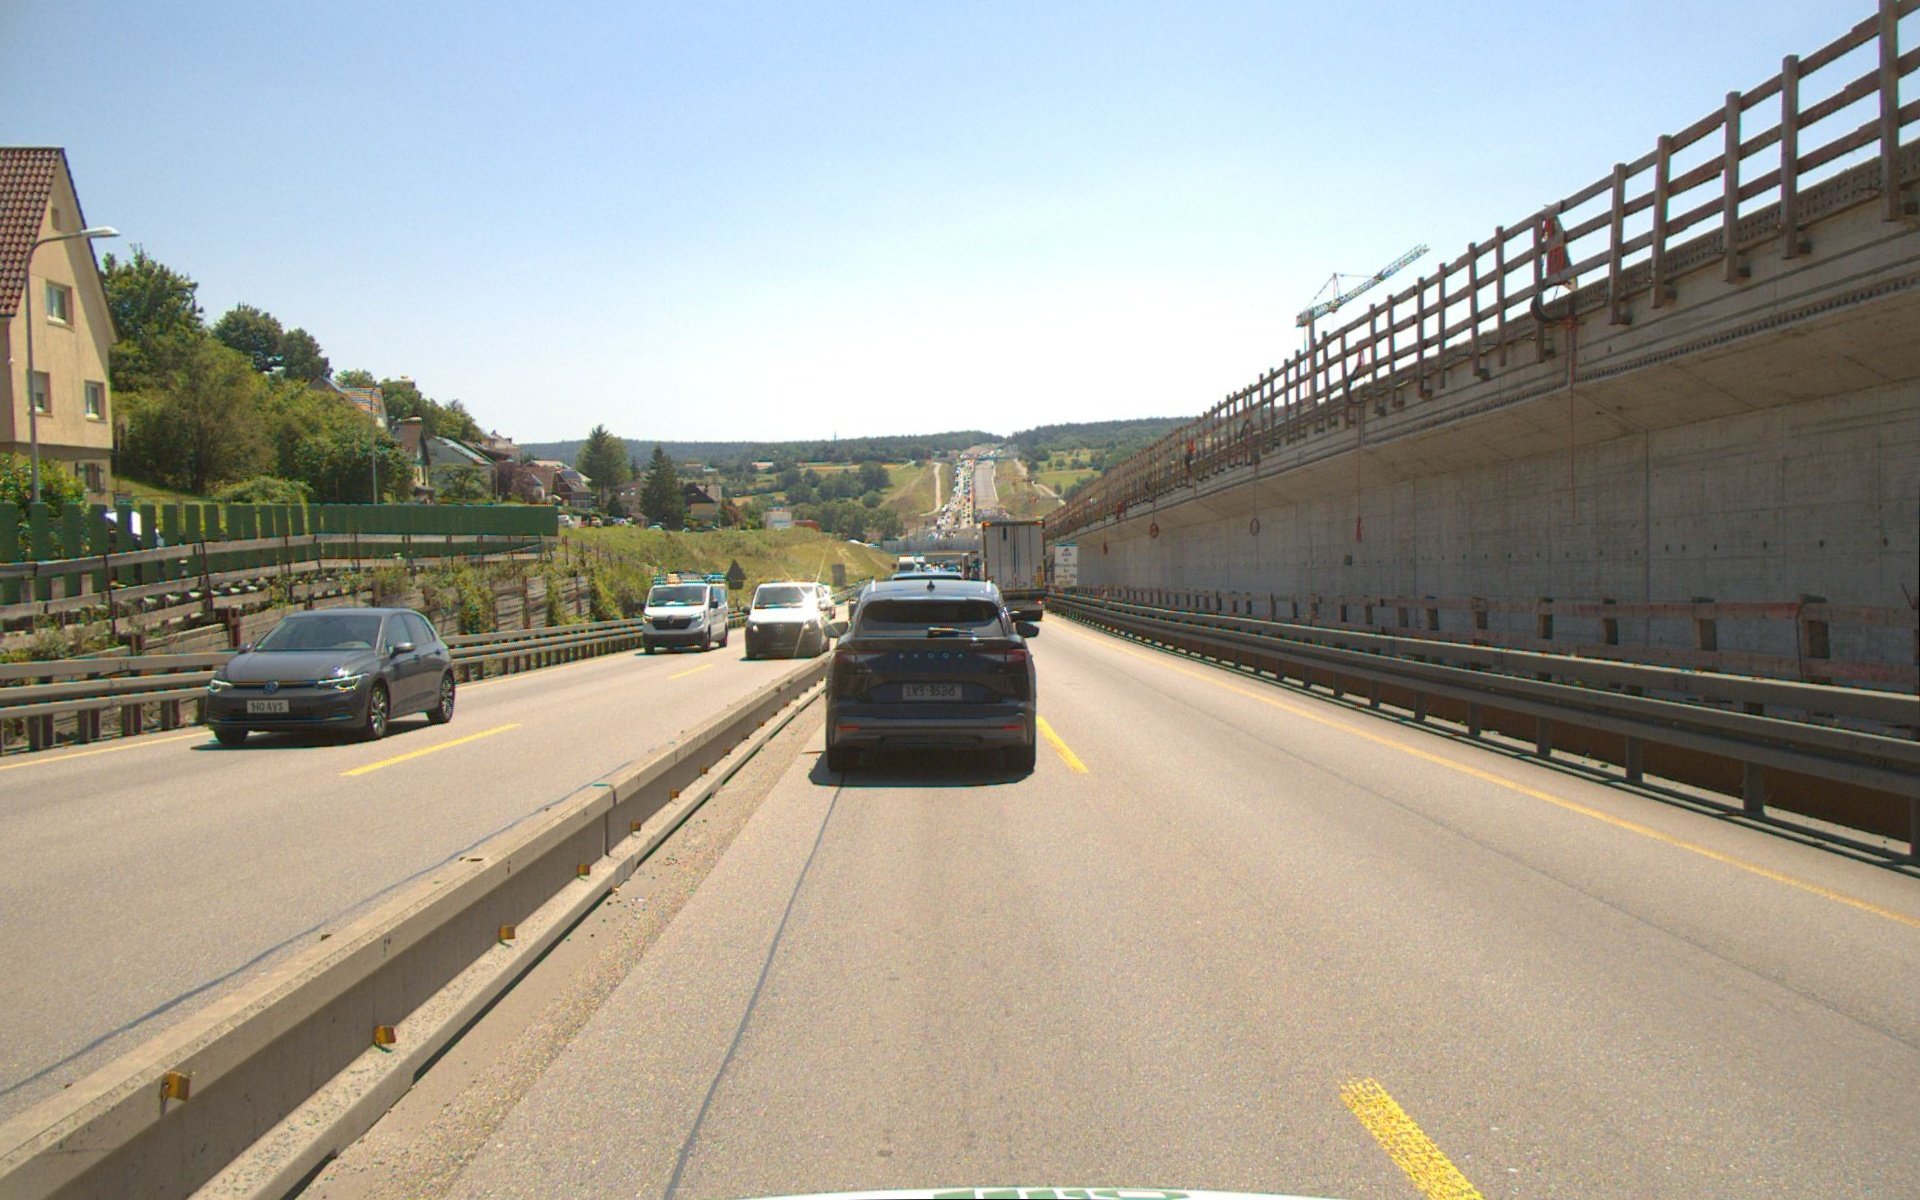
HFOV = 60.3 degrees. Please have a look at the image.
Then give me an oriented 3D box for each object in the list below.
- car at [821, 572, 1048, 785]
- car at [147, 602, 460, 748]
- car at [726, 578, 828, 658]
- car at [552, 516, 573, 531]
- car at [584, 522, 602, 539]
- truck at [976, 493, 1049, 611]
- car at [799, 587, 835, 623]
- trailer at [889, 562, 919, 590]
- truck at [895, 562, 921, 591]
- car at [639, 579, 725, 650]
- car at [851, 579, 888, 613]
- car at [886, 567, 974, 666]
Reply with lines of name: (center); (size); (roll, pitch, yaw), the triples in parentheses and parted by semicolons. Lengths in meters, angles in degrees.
car: (-0.242, 0.615, 14.972); (1.747, 1.625, 3.754); (-2, 0, -1)
car: (-7.319, 0.774, 18.970); (1.953, 1.467, 4.362); (0, 0, -2)
car: (-4.632, 0.448, 42.610); (2.113, 1.939, 5.324); (0, 0, -1)
car: (-41.675, -8.050, 173.552); (1.958, 1.343, 3.989); (2, 0, -11)
car: (-42.897, -8.107, 193.459); (1.890, 1.758, 3.990); (-2, 0, -10)
truck: (2.163, -1.910, 72.667); (2.787, 4.696, 11.810); (-1, 0, 0)
car: (-7.747, 0.273, 89.995); (1.564, 1.866, 4.752); (-2, 0, -1)
trailer: (-9.051, -3.838, 264.914); (3.161, 4.230, 13.380); (-2, 0, -9)
truck: (-8.218, -3.621, 259.576); (3.122, 4.312, 6.471); (-2, 0, -9)
car: (-8.076, 0.385, 48.460); (1.788, 1.959, 5.241); (0, 0, -2)
car: (-4.625, -0.222, 85.200); (1.738, 1.662, 4.099); (-1, 0, -1)
car: (-0.670, 0.320, 34.348); (1.714, 1.928, 3.753); (0, 0, -3)
